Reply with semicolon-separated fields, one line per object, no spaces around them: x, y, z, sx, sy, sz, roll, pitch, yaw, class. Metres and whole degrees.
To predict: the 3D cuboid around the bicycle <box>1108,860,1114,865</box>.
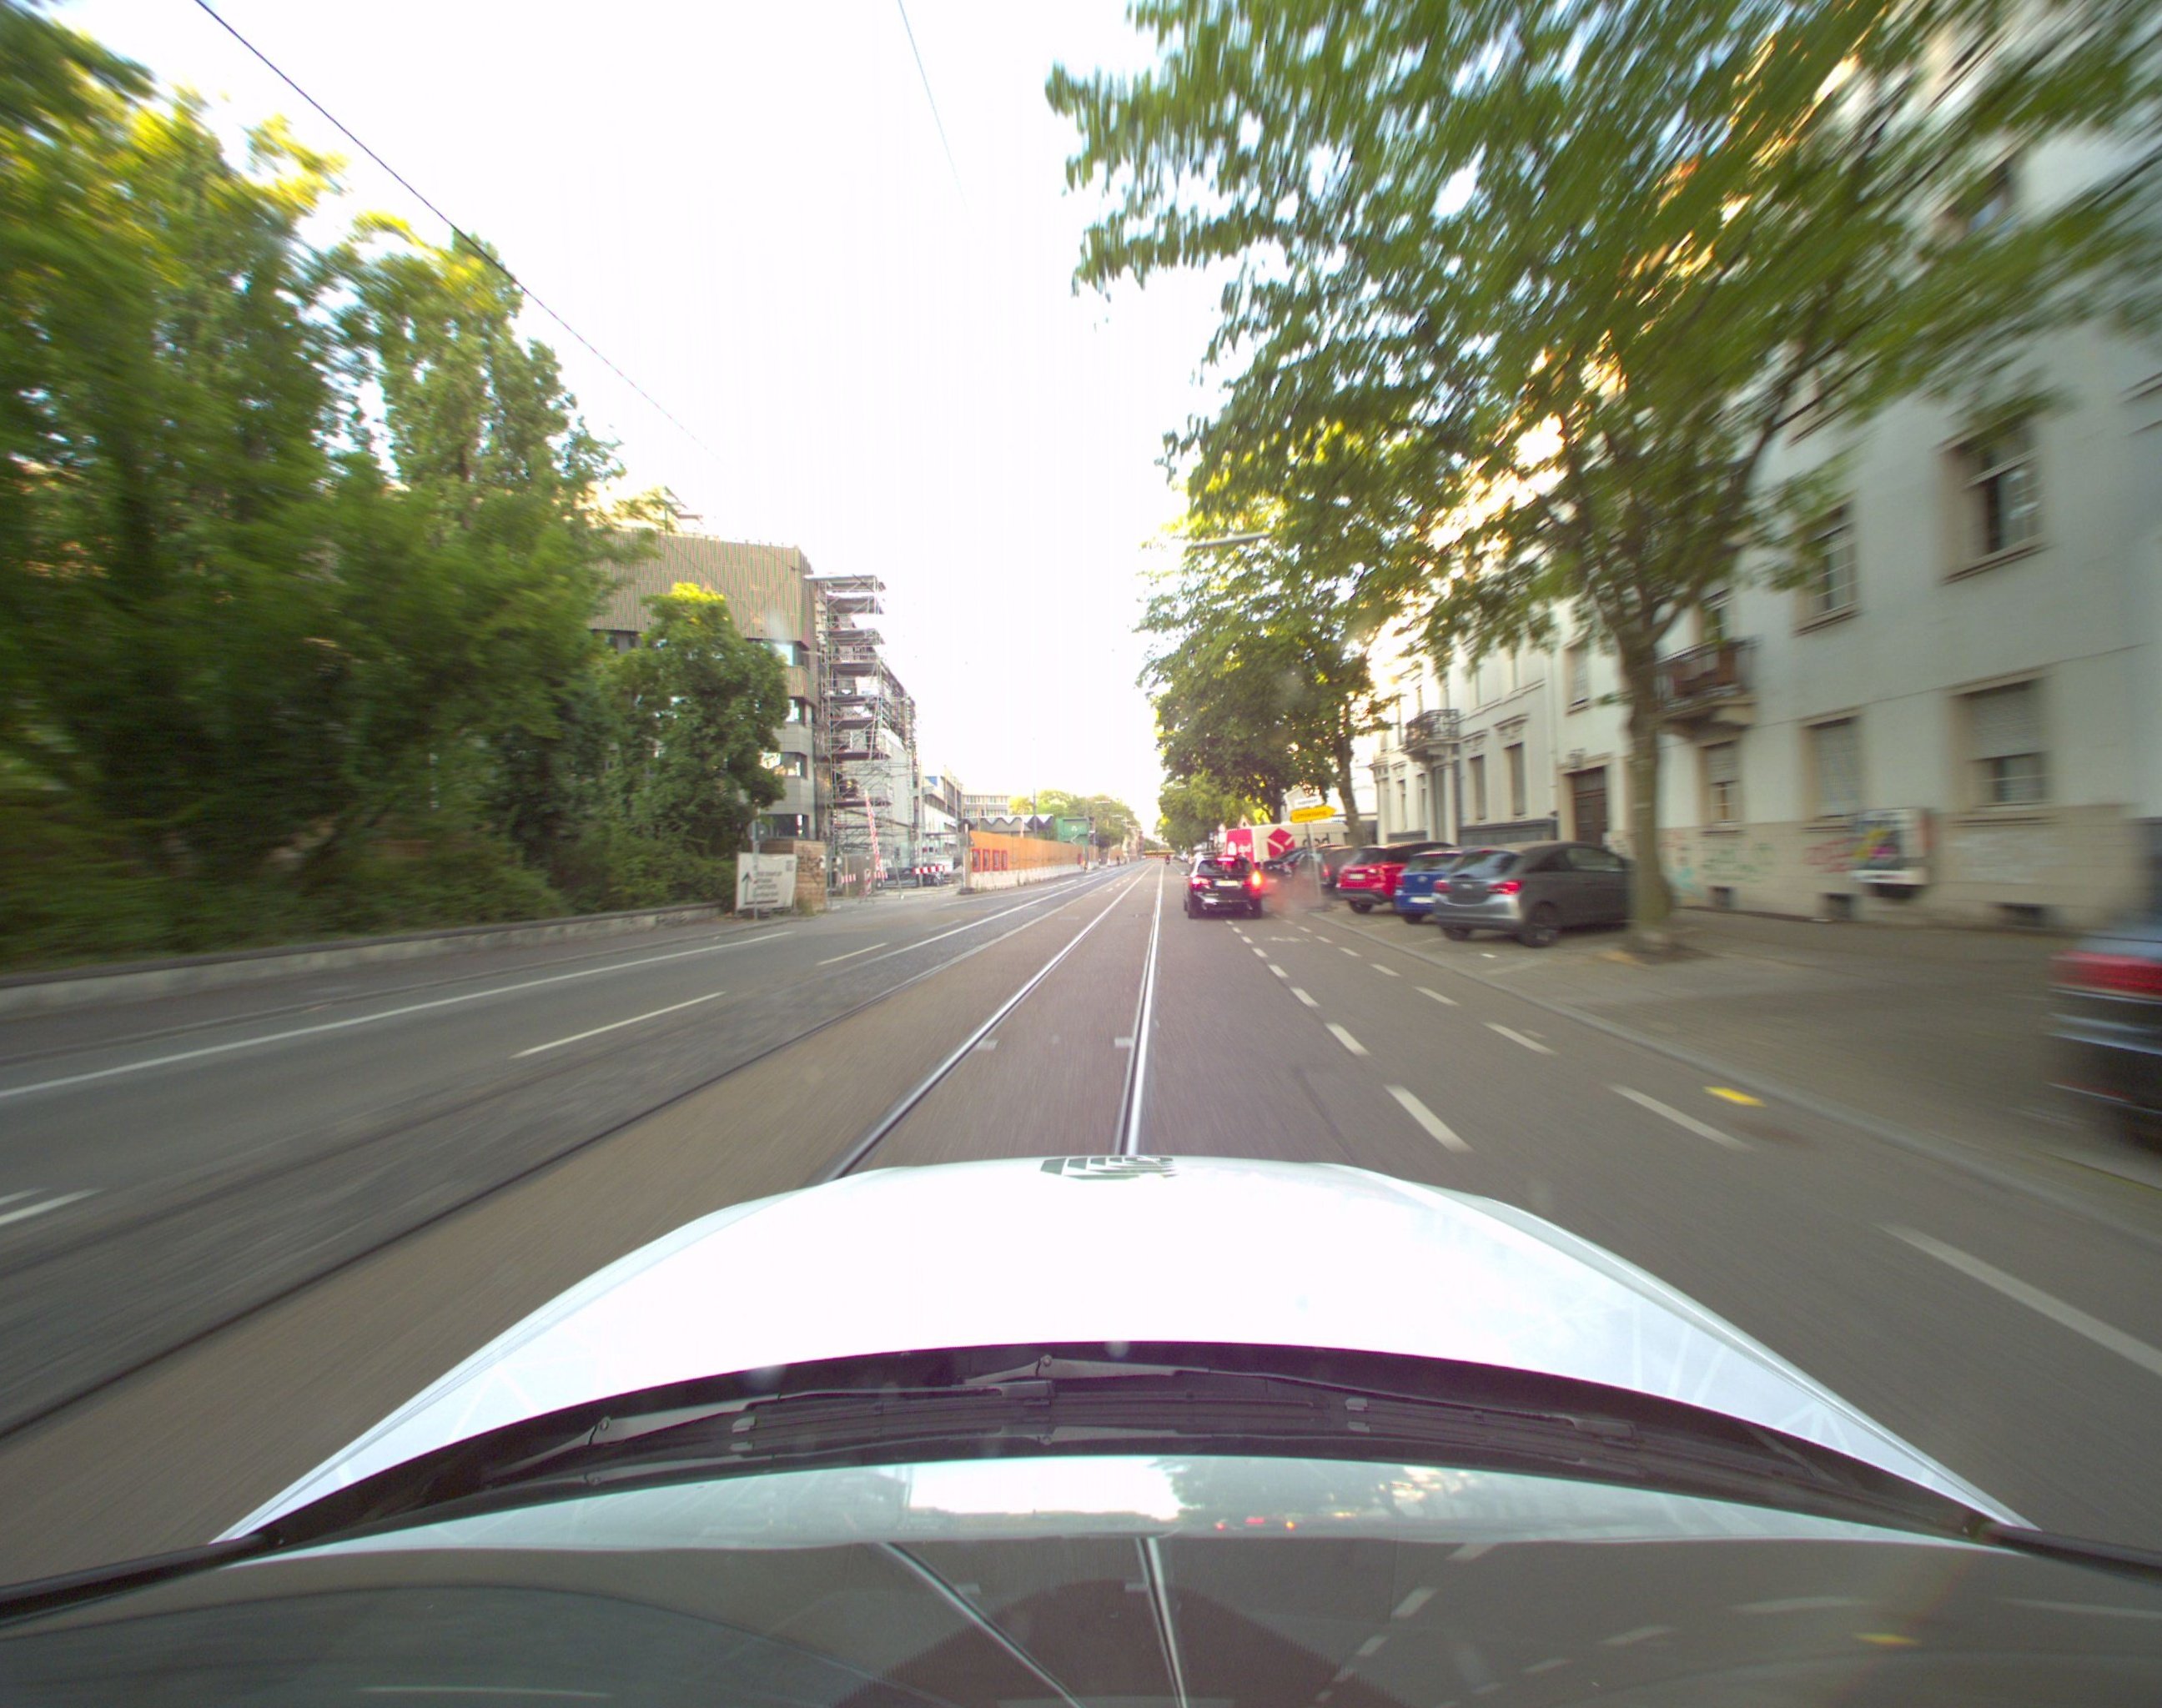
5.000;1.402;133.860;0.944;0.849;2.699;-2;0;3;bicycle

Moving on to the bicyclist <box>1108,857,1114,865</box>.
4.888;1.170;133.078;0.940;1.346;1.112;-2;0;3;bicyclist

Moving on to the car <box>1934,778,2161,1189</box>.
6.188;0.360;3.349;3.945;1.603;1.833;-5;0;-12;car

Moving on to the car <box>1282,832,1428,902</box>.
8.536;0.386;25.400;3.957;1.765;1.827;-5;0;-21;car

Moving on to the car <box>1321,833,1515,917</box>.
7.844;0.456;19.000;3.957;1.603;1.827;-4;-1;-21;car

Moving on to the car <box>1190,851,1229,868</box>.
14.020;0.563;88.892;3.940;1.722;1.630;-2;0;-9;car

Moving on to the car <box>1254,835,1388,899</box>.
8.138;0.419;27.606;3.957;1.765;1.827;-5;0;-21;car

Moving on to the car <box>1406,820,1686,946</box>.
7.263;0.395;12.698;3.963;1.603;1.824;-3;-1;-27;car

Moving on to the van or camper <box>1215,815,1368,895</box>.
8.041;0.030;30.886;5.566;2.530;2.067;-5;0;-29;van or camper

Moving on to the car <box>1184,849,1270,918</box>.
3.690;0.687;21.167;1.872;1.620;4.006;0;0;5;car

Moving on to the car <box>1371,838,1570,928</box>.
7.644;0.530;15.954;3.662;1.445;1.644;-3;-1;-29;car
